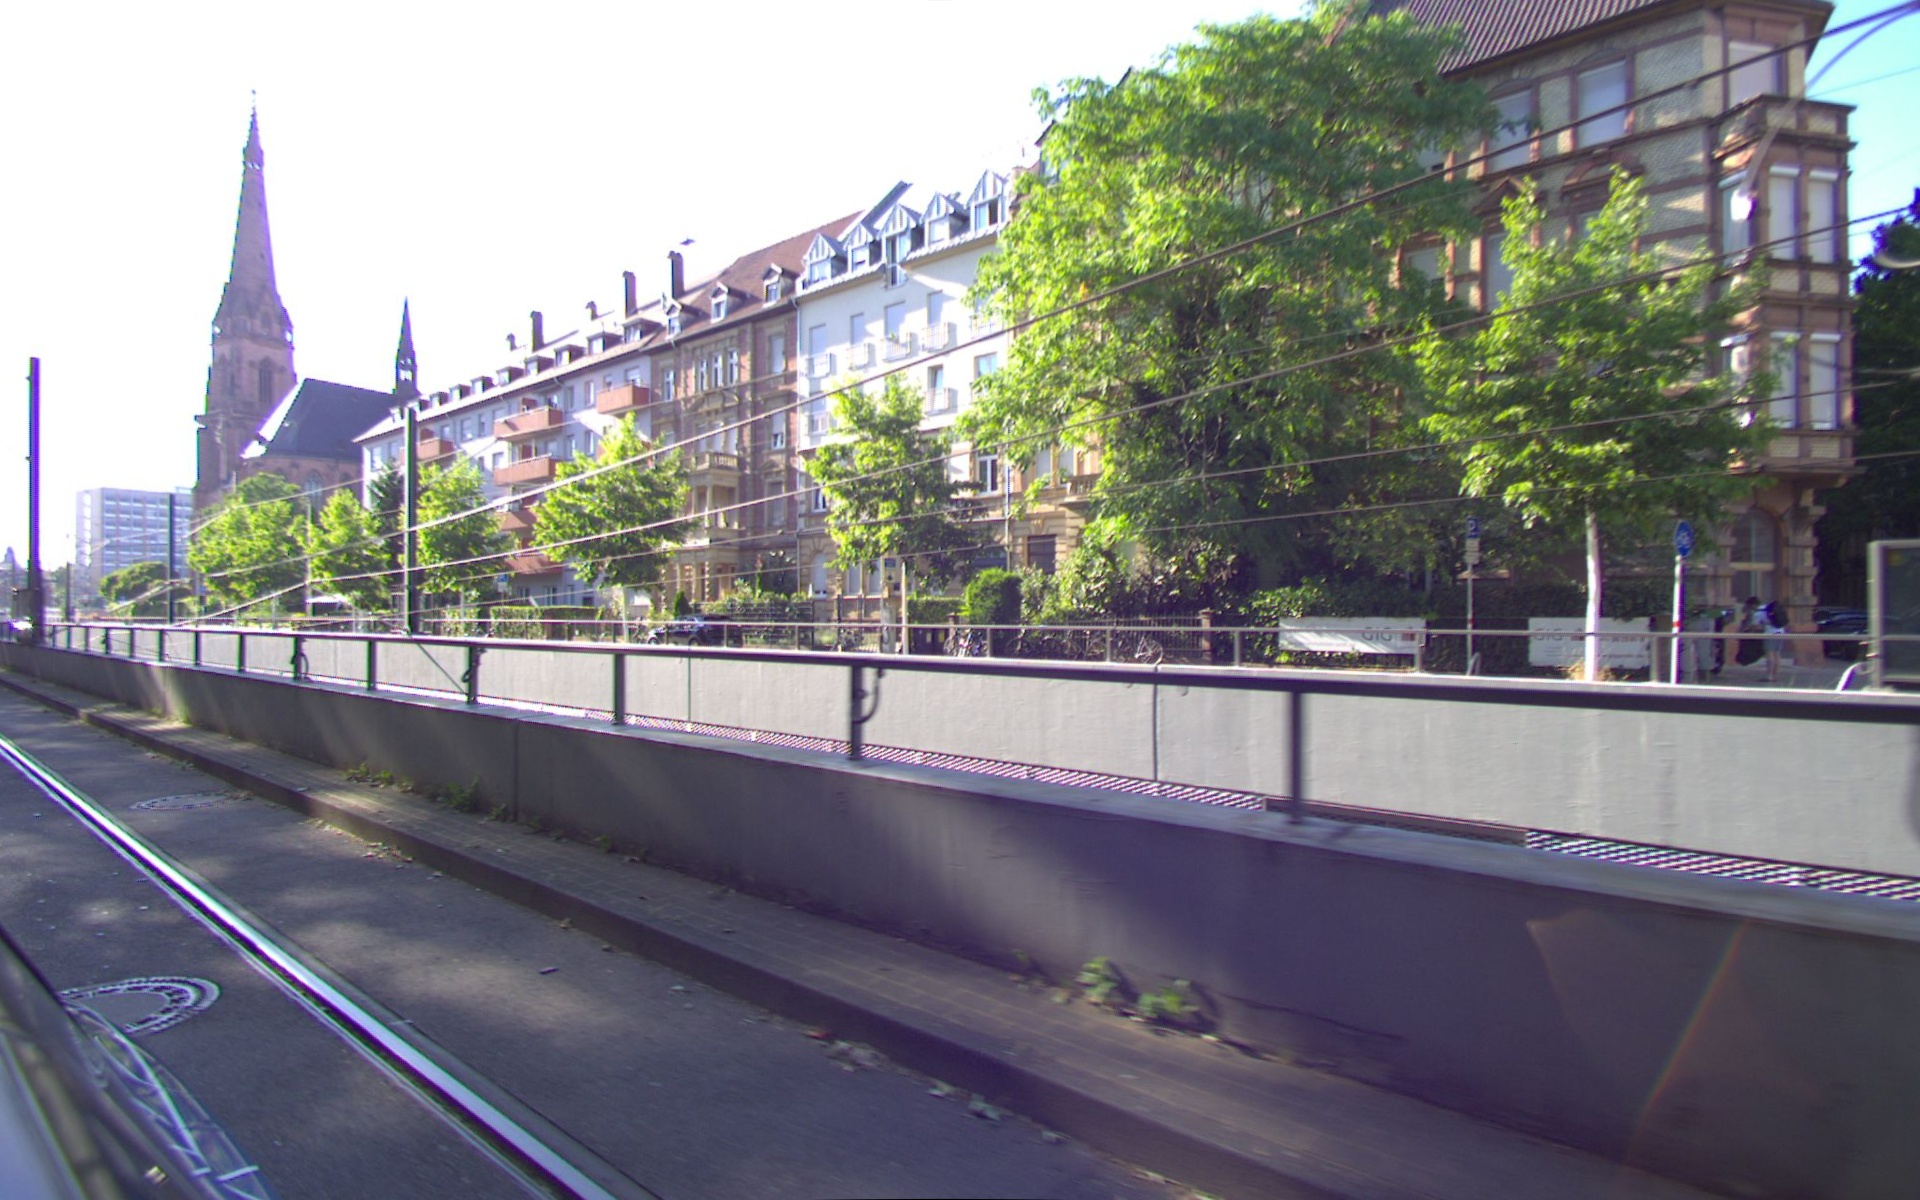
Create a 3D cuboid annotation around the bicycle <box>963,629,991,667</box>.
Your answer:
[{"bbox_3d":[0.460,1.266,26.941,0.533,0.912,1.264,-2,1,11],"label":"bicycle"}]

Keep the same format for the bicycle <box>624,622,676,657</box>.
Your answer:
[{"bbox_3d":[-11.613,1.464,37.994,0.562,1.187,1.788,-1,1,44],"label":"bicycle"}]

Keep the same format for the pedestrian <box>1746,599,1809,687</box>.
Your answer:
[{"bbox_3d":[16.482,0.840,20.408,0.710,1.701,0.865,-3,1,-43],"label":"pedestrian"}]

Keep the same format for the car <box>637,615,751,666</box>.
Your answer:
[{"bbox_3d":[-9.323,1.363,35.353,3.996,1.597,1.814,-1,1,40],"label":"car"}]

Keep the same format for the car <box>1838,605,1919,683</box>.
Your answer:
[{"bbox_3d":[26.513,1.155,28.132,1.989,1.863,4.409,-1,1,25],"label":"car"}]

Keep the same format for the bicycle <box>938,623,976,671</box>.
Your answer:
[{"bbox_3d":[-0.063,1.240,27.277,0.551,1.106,2.368,-2,1,11],"label":"bicycle"}]

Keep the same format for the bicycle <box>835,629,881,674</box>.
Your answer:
[{"bbox_3d":[-2.984,1.489,29.865,0.635,1.106,2.779,-2,1,9],"label":"bicycle"}]

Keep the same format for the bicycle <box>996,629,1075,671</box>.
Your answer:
[{"bbox_3d":[2.111,1.401,28.726,2.375,1.106,0.549,-1,1,42],"label":"bicycle"}]

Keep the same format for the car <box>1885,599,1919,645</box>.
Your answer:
[{"bbox_3d":[42.518,0.905,42.623,4.878,1.860,1.855,-1,1,30],"label":"car"}]

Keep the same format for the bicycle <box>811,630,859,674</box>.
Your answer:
[{"bbox_3d":[-3.666,1.511,29.940,0.635,1.106,2.779,-2,1,9],"label":"bicycle"}]
